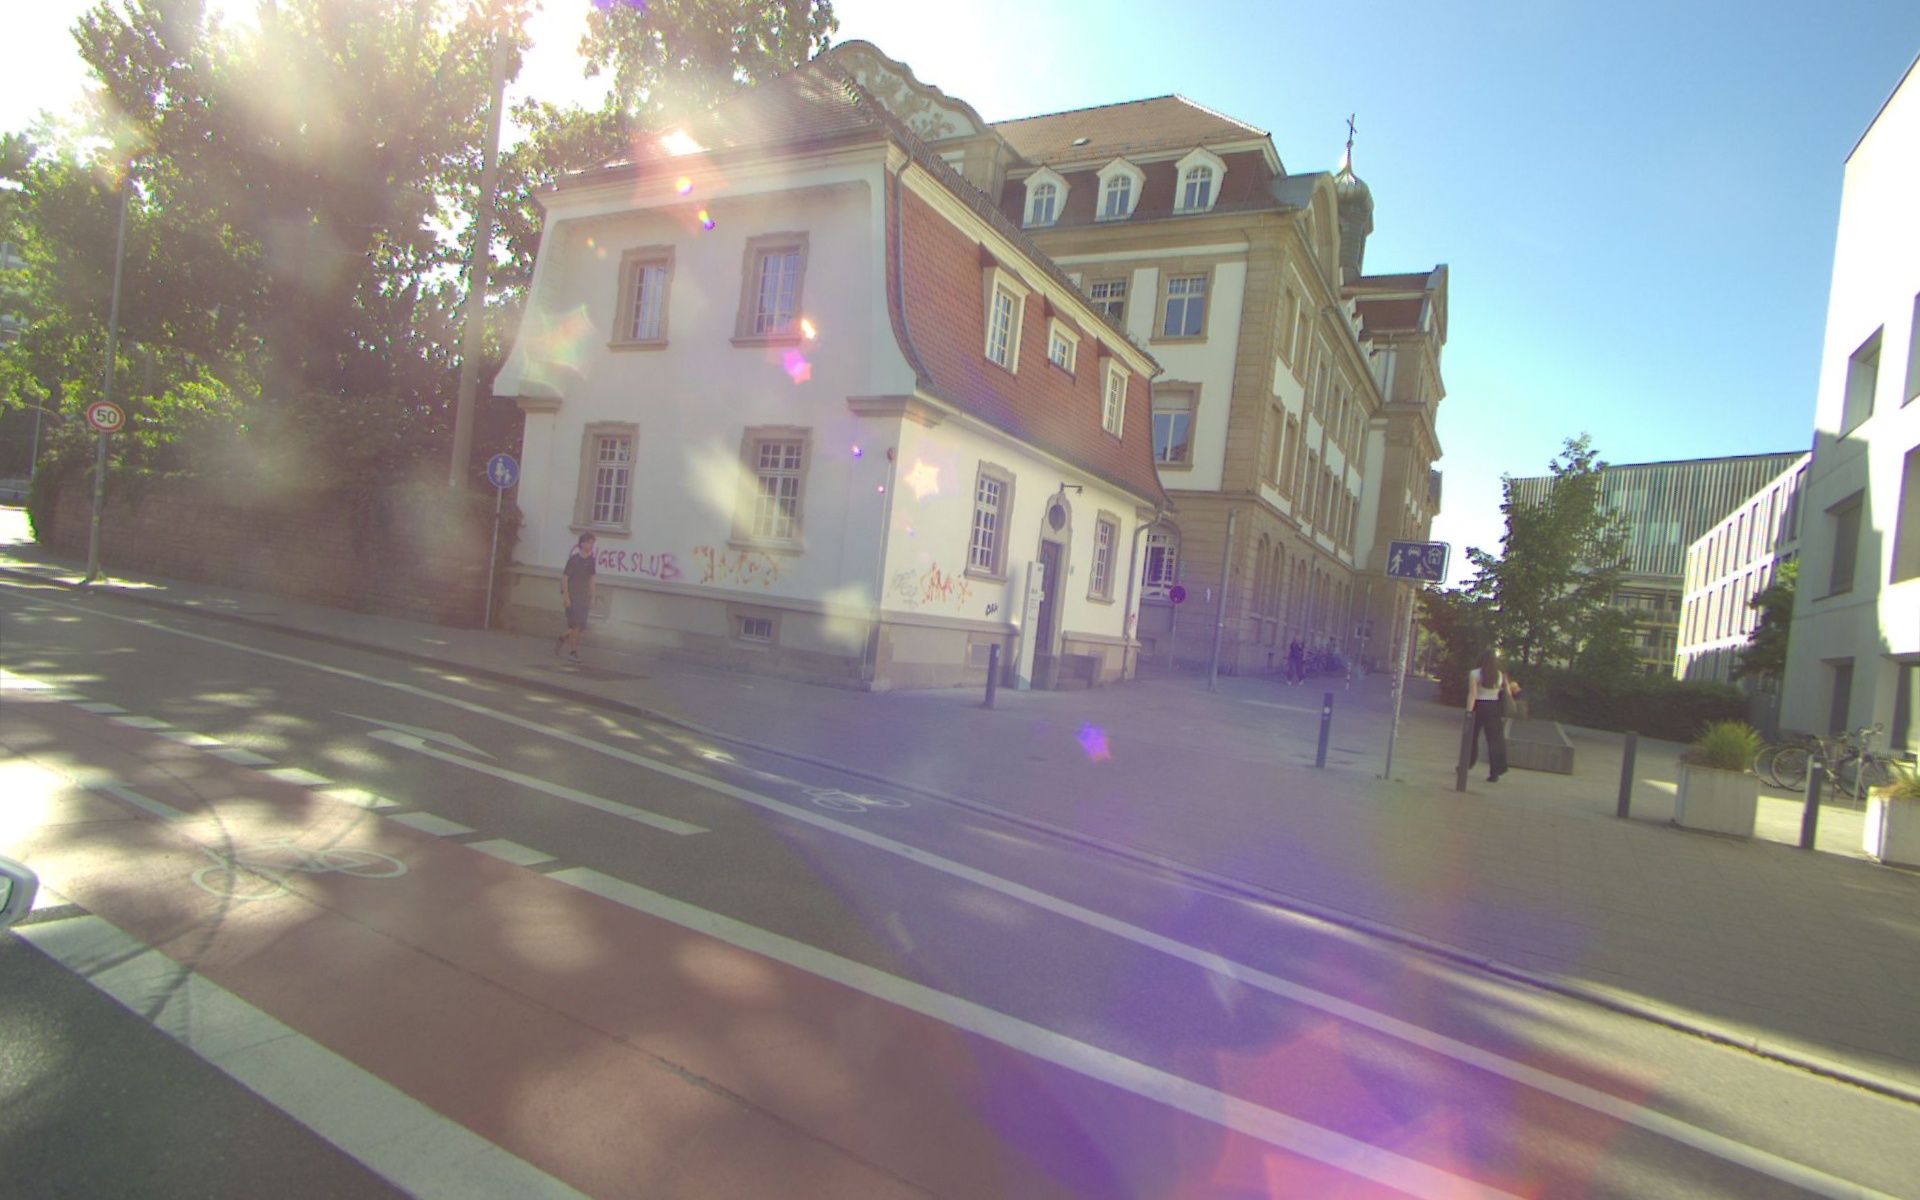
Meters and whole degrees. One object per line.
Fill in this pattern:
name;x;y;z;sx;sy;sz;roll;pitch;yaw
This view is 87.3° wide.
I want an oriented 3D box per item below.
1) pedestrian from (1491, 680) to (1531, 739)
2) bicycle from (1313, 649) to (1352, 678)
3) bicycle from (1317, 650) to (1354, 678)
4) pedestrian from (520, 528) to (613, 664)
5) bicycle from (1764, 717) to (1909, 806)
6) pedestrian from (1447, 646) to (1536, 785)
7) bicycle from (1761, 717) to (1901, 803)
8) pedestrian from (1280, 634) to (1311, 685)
pedestrian;12.280;2.420;22.414;0.641;1.207;0.965;7;1;31
bicycle;15.899;2.714;42.962;1.363;1.030;0.470;8;2;32
bicycle;16.707;2.851;44.710;1.363;1.030;0.470;8;2;32
pedestrian;-5.955;-0.063;15.231;1.115;1.929;0.638;7;3;31
bicycle;13.679;2.498;15.751;1.561;1.109;0.497;6;0;34
pedestrian;6.894;1.468;13.103;0.844;1.661;0.992;5;0;25
bicycle;13.952;2.544;16.170;1.567;1.108;0.497;5;0;34
pedestrian;11.033;1.958;33.052;0.632;1.606;0.925;7;1;31
